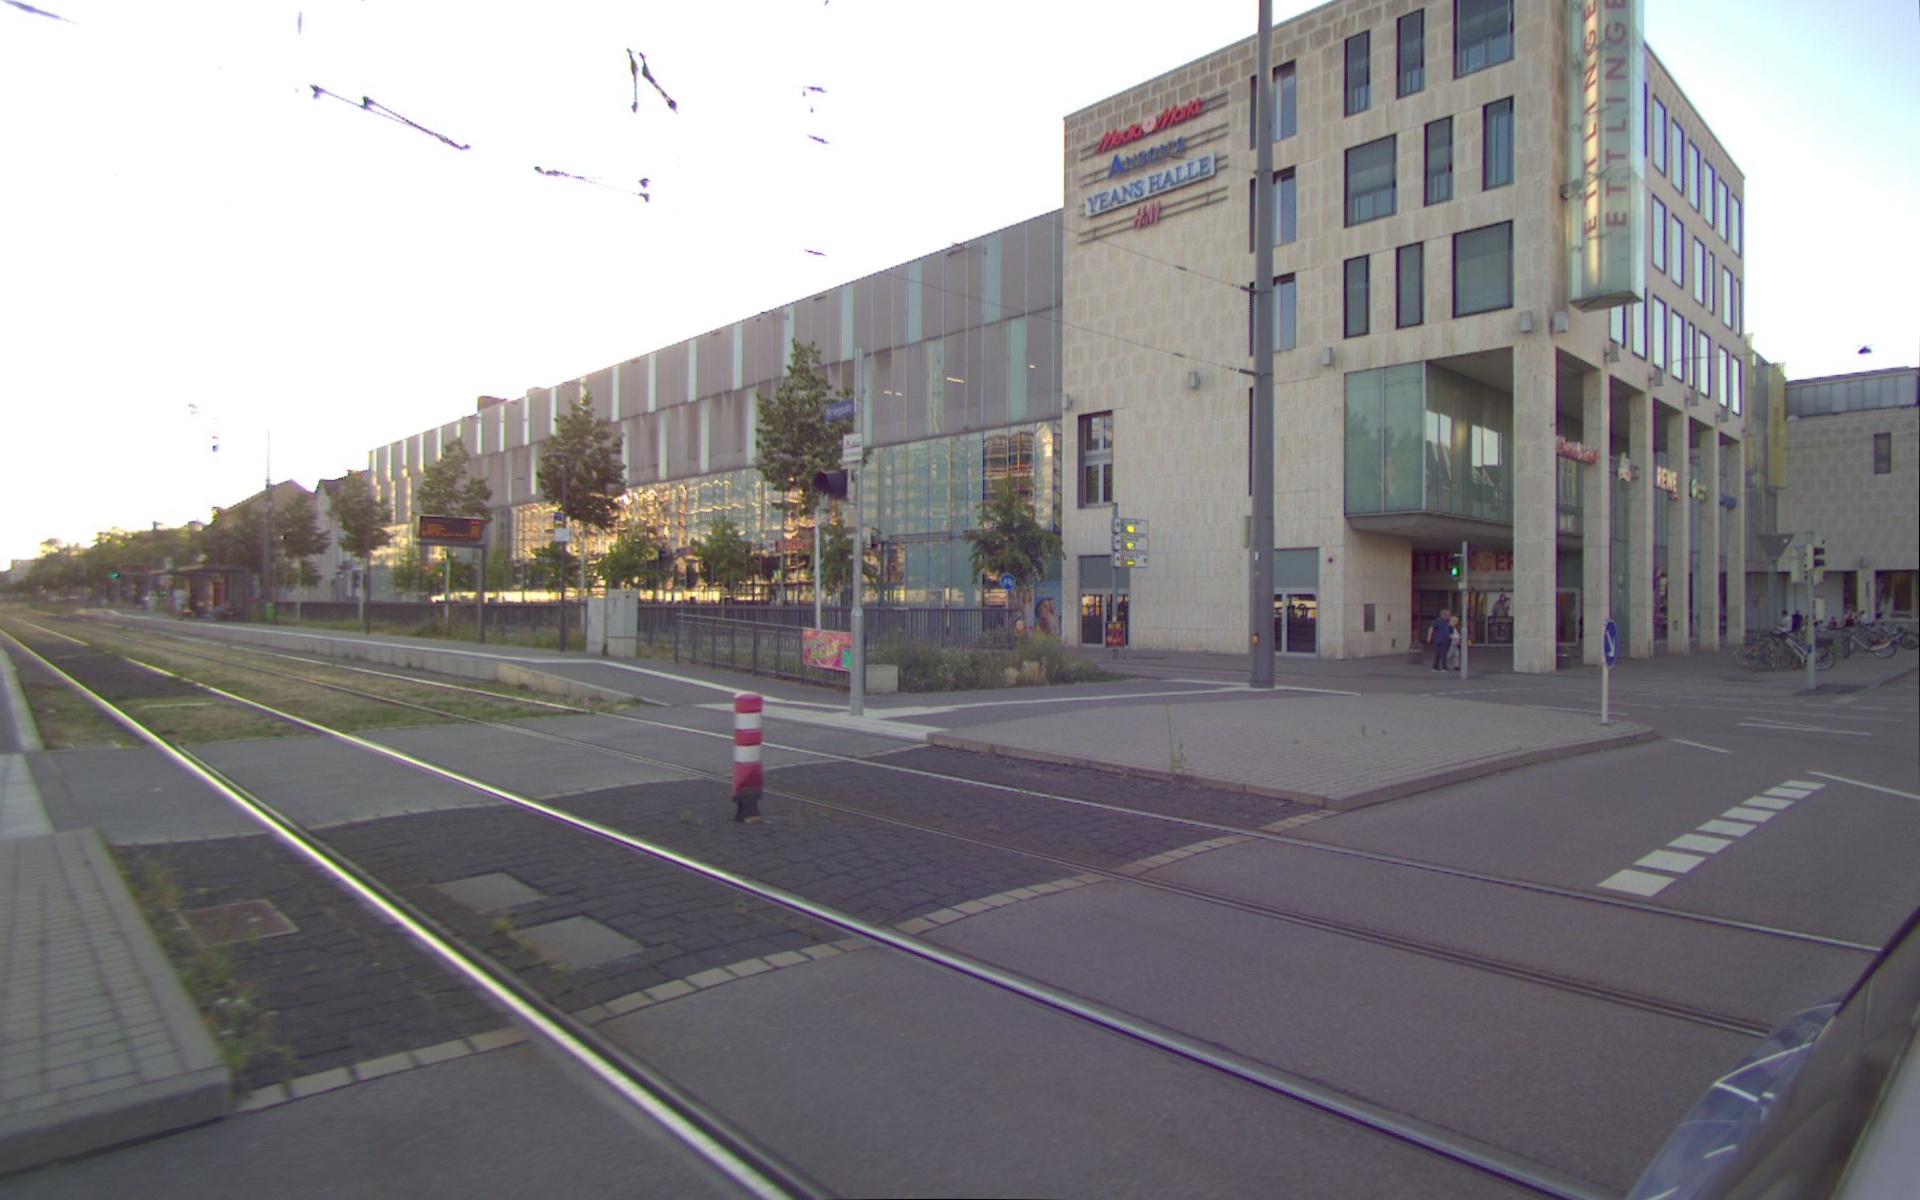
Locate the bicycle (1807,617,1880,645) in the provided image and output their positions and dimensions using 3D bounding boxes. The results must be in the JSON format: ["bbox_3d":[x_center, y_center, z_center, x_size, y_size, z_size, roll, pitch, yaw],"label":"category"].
[{"bbox_3d":[35.984,1.244,41.254,0.500,1.054,2.207,0,0,-43],"label":"bicycle"}]

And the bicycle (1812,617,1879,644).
[{"bbox_3d":[36.336,1.239,41.551,0.500,1.054,2.020,0,0,-43],"label":"bicycle"}]

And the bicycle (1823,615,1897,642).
[{"bbox_3d":[38.576,1.209,43.416,0.500,1.054,2.347,0,0,-43],"label":"bicycle"}]

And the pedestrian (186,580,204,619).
[{"bbox_3d":[-38.339,-0.046,50.741,0.604,1.876,0.727,-2,4,-31],"label":"pedestrian"}]

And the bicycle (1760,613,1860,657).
[{"bbox_3d":[28.363,1.136,33.798,0.608,1.340,2.505,-1,1,-42],"label":"bicycle"}]

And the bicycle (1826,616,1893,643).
[{"bbox_3d":[37.485,1.227,42.193,0.500,1.054,2.067,0,0,-43],"label":"bicycle"}]

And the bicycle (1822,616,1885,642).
[{"bbox_3d":[37.779,1.220,42.820,0.500,1.054,1.973,0,0,-43],"label":"bicycle"}]

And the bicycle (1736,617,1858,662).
[{"bbox_3d":[25.570,1.186,30.988,0.749,1.231,2.810,0,0,-32],"label":"bicycle"}]

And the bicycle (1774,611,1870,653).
[{"bbox_3d":[30.351,1.104,35.669,0.608,1.340,2.505,-1,1,-42],"label":"bicycle"}]

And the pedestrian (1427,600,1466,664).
[{"bbox_3d":[13.492,0.877,28.067,0.820,1.728,0.763,0,0,-44],"label":"pedestrian"}]

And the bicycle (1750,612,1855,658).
[{"bbox_3d":[26.705,1.092,32.135,0.608,1.340,2.505,-1,1,-42],"label":"bicycle"}]

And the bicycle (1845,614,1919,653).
[{"bbox_3d":[34.234,1.210,37.212,0.608,1.340,2.505,-1,1,-42],"label":"bicycle"}]

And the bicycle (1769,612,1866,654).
[{"bbox_3d":[29.687,1.115,35.064,0.608,1.340,2.505,-1,1,-42],"label":"bicycle"}]

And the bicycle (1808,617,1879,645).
[{"bbox_3d":[35.644,1.250,40.850,0.500,1.054,2.113,0,0,-43],"label":"bicycle"}]

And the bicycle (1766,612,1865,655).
[{"bbox_3d":[29.129,1.122,34.497,0.608,1.340,2.505,-1,1,-42],"label":"bicycle"}]

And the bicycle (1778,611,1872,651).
[{"bbox_3d":[30.907,1.094,36.211,0.608,1.340,2.505,-1,1,-42],"label":"bicycle"}]

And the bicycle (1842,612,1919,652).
[{"bbox_3d":[33.515,1.149,36.506,0.608,1.340,2.505,-1,1,-42],"label":"bicycle"}]

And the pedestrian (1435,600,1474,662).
[{"bbox_3d":[14.042,0.868,28.747,0.820,1.728,0.763,0,0,-44],"label":"pedestrian"}]

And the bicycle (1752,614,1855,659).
[{"bbox_3d":[27.364,1.147,32.867,0.608,1.340,2.505,-1,1,-42],"label":"bicycle"}]

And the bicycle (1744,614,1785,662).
[{"bbox_3d":[23.729,1.097,29.838,2.468,1.341,0.617,0,0,-44],"label":"bicycle"}]

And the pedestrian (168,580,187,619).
[{"bbox_3d":[-38.978,-0.039,50.405,0.604,1.876,0.727,-2,4,-31],"label":"pedestrian"}]

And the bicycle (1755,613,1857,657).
[{"bbox_3d":[27.844,1.142,33.353,0.608,1.340,2.505,-1,1,-42],"label":"bicycle"}]
